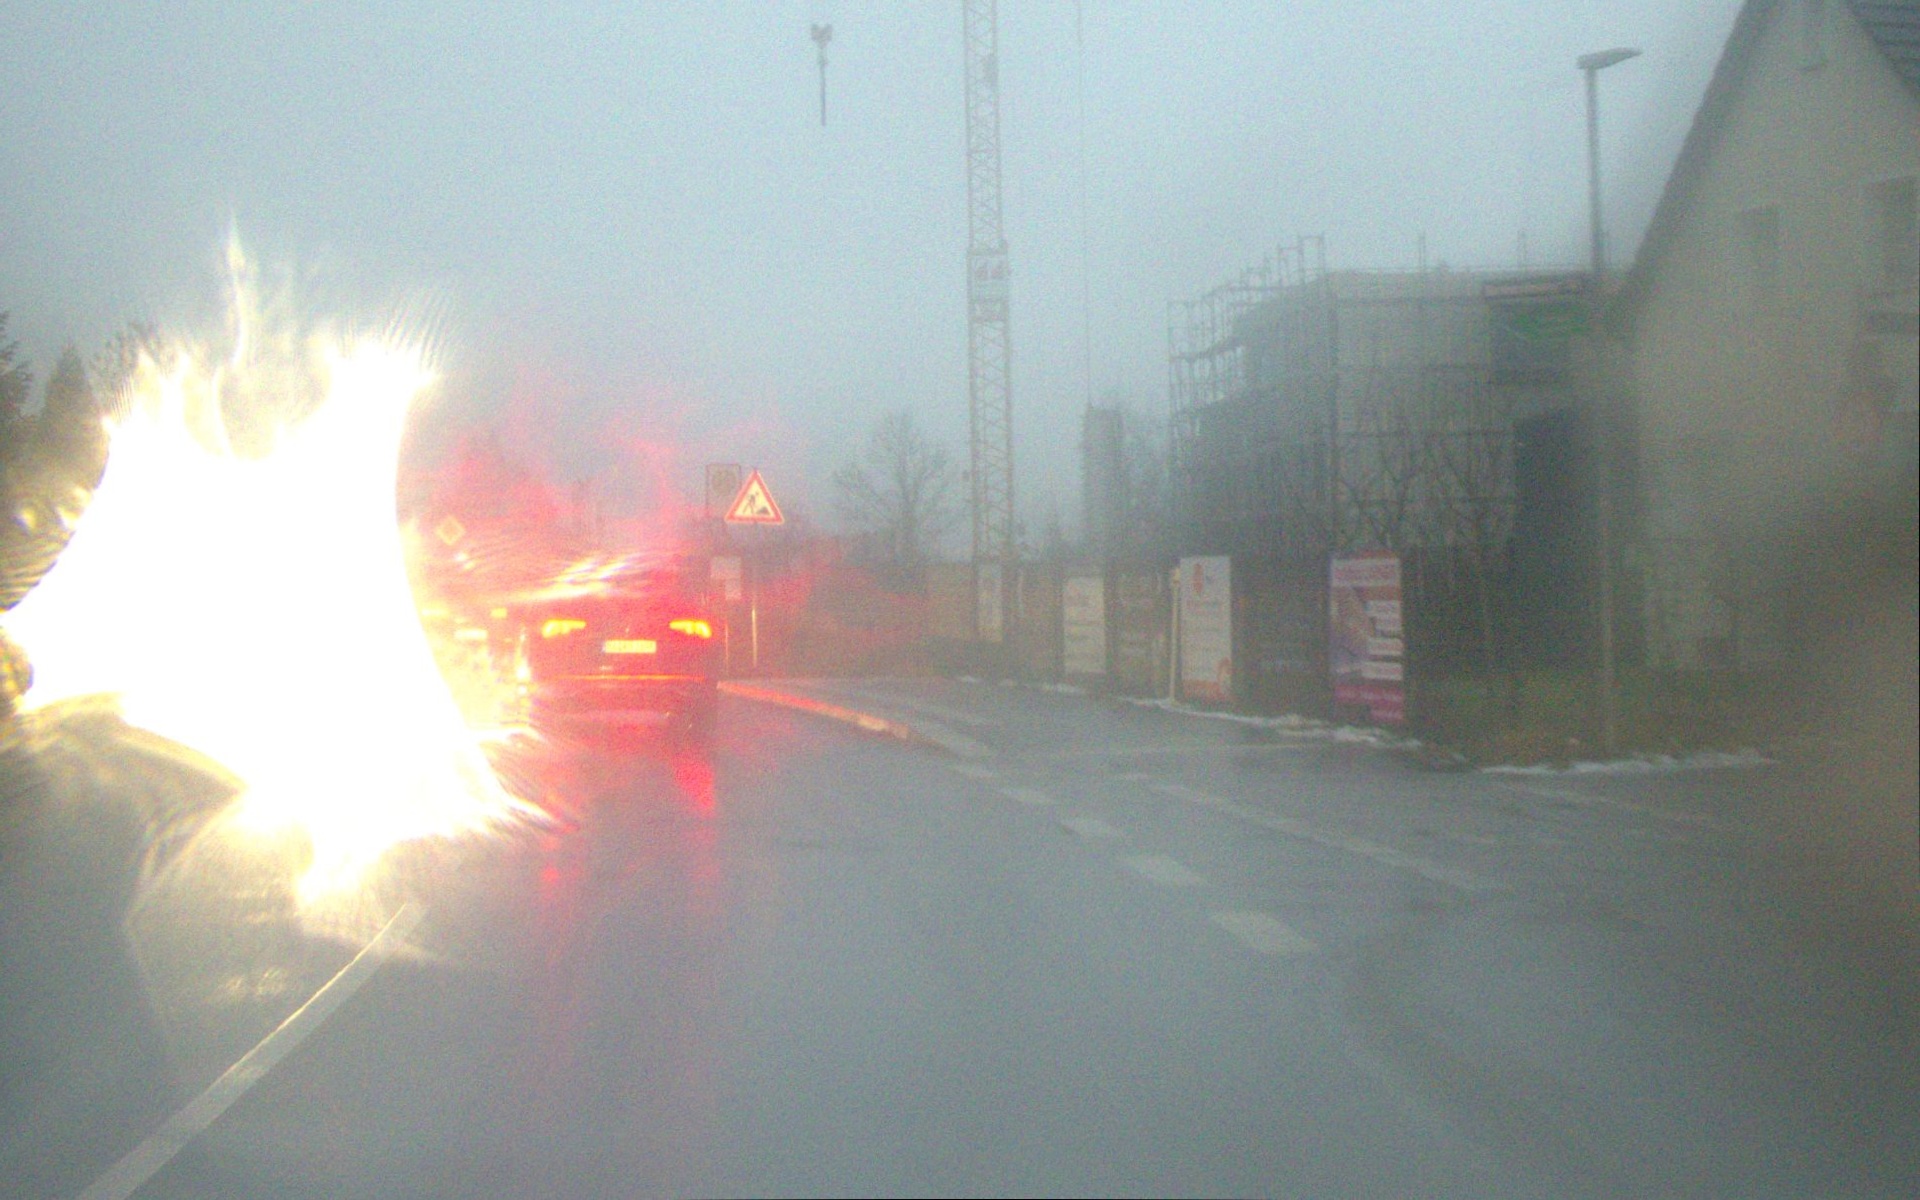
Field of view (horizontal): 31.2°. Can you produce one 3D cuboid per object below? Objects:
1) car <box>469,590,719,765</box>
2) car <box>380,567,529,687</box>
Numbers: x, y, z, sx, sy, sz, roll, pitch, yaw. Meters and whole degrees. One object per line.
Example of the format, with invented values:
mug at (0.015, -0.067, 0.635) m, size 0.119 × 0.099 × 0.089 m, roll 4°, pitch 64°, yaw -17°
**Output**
car at (-3.745, 0.742, 34.446) m, size 2.046 × 1.567 × 4.704 m, roll -2°, pitch 0°, yaw -11°
car at (-8.652, 0.432, 58.580) m, size 1.993 × 1.875 × 4.001 m, roll -3°, pitch 1°, yaw -15°
